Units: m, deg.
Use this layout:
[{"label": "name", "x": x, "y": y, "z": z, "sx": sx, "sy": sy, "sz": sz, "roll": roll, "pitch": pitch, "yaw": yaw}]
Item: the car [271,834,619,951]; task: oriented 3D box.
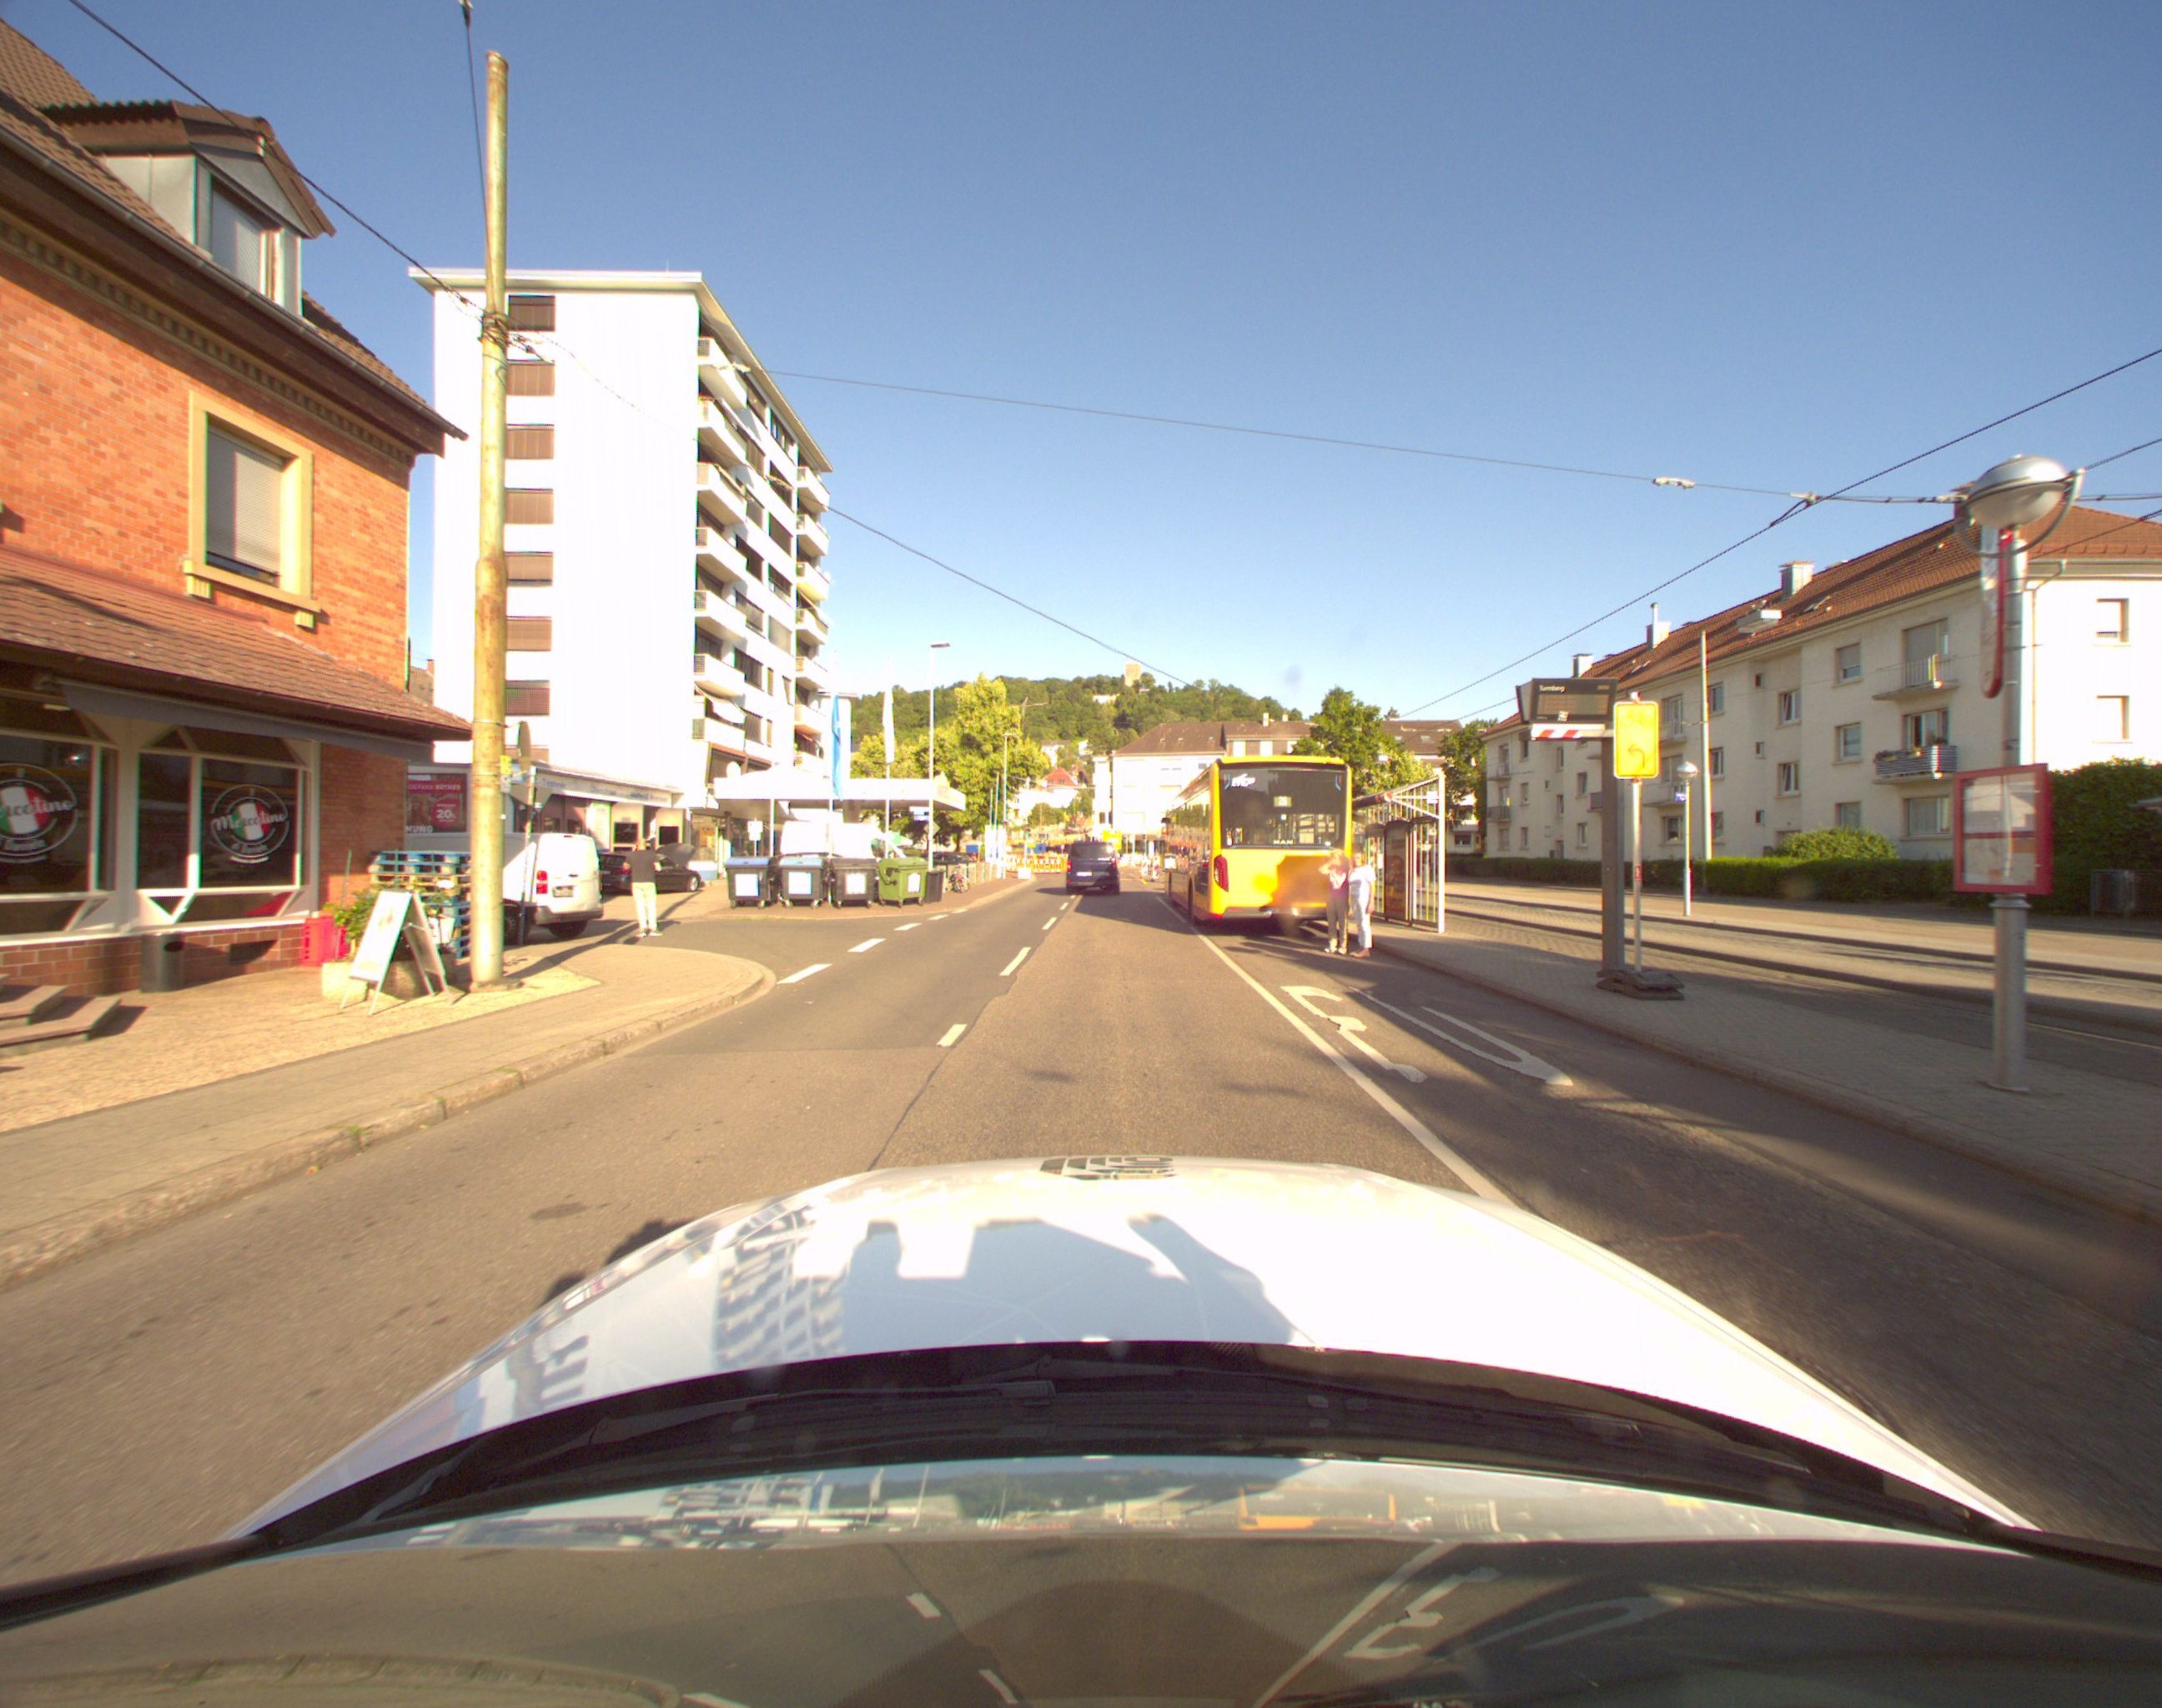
[{"label": "car", "x": -11.161, "y": 0.640, "z": 14.575, "sx": 4.600, "sy": 1.933, "sz": 1.999, "roll": 0, "pitch": 0, "yaw": -1}]

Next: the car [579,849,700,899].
[{"label": "car", "x": -15.126, "y": 0.634, "z": 28.184, "sx": 1.761, "sy": 1.568, "sz": 4.316, "roll": 1, "pitch": 0, "yaw": 1}]

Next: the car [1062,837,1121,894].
[{"label": "car", "x": 0.469, "y": 0.434, "z": 31.610, "sx": 2.054, "sy": 2.014, "sz": 5.002, "roll": -1, "pitch": -1, "yaw": 2}]

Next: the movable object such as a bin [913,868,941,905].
[{"label": "movable object such as a bin", "x": -4.784, "y": 1.004, "z": 25.330, "sx": 0.655, "sy": 1.062, "sz": 0.587, "roll": 2, "pitch": 2, "yaw": 14}]

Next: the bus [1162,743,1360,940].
[{"label": "bus", "x": 3.737, "y": -0.235, "z": 20.177, "sx": 2.678, "sy": 3.416, "sz": 12.024, "roll": 0, "pitch": 0, "yaw": 2}]

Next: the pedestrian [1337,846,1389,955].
[{"label": "pedestrian", "x": 4.315, "y": 0.688, "z": 12.463, "sx": 0.548, "sy": 1.613, "sz": 0.544, "roll": 0, "pitch": -1, "yaw": -36}]

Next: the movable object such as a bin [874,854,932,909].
[{"label": "movable object such as a bin", "x": -5.303, "y": 0.793, "z": 24.310, "sx": 1.045, "sy": 1.482, "sz": 1.321, "roll": 2, "pitch": 3, "yaw": 30}]

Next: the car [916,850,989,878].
[{"label": "car", "x": -7.225, "y": 0.530, "z": 45.447, "sx": 1.921, "sy": 1.454, "sz": 4.261, "roll": 1, "pitch": 0, "yaw": -43}]

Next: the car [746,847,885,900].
[{"label": "car", "x": -8.292, "y": 0.620, "z": 25.809, "sx": 3.990, "sy": 1.568, "sz": 1.765, "roll": 1, "pitch": 0, "yaw": -13}]

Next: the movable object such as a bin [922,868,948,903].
[{"label": "movable object such as a bin", "x": -4.645, "y": 0.991, "z": 25.932, "sx": 0.635, "sy": 1.069, "sz": 0.582, "roll": 1, "pitch": 3, "yaw": 14}]

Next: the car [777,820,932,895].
[{"label": "car", "x": -7.981, "y": 0.151, "z": 28.775, "sx": 5.072, "sy": 2.469, "sz": 2.094, "roll": 1, "pitch": 0, "yaw": -20}]

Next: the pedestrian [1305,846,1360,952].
[{"label": "pedestrian", "x": 3.961, "y": 0.687, "z": 12.818, "sx": 0.548, "sy": 1.613, "sz": 0.629, "roll": 0, "pitch": -1, "yaw": -36}]

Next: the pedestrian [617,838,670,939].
[{"label": "pedestrian", "x": -8.372, "y": 0.632, "z": 15.614, "sx": 0.821, "sy": 1.868, "sz": 0.789, "roll": 0, "pitch": 0, "yaw": -23}]

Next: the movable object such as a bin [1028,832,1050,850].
[{"label": "movable object such as a bin", "x": -6.262, "y": -1.893, "z": 122.112, "sx": 2.175, "sy": 2.690, "sz": 4.014, "roll": 0, "pitch": 0, "yaw": 13}]

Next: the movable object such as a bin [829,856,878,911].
[{"label": "movable object such as a bin", "x": -6.517, "y": 0.823, "z": 23.344, "sx": 1.225, "sy": 1.482, "sz": 0.698, "roll": -1, "pitch": 3, "yaw": -27}]

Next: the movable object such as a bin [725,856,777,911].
[{"label": "movable object such as a bin", "x": -9.316, "y": 0.815, "z": 23.032, "sx": 1.175, "sy": 1.482, "sz": 0.703, "roll": 0, "pitch": 3, "yaw": -3}]

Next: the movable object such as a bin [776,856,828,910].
[{"label": "movable object such as a bin", "x": -7.917, "y": 0.811, "z": 23.151, "sx": 1.215, "sy": 1.482, "sz": 0.703, "roll": 0, "pitch": 3, "yaw": -3}]

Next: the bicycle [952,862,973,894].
[{"label": "bicycle", "x": -4.521, "y": 0.903, "z": 31.127, "sx": 0.722, "sy": 1.178, "sz": 1.776, "roll": 0, "pitch": 0, "yaw": -7}]

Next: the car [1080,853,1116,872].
[{"label": "car", "x": 1.301, "y": 0.640, "z": 64.323, "sx": 1.797, "sy": 1.409, "sz": 3.980, "roll": 0, "pitch": 0, "yaw": -14}]

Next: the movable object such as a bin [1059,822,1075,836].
[{"label": "movable object such as a bin", "x": -2.711, "y": -4.755, "z": 156.594, "sx": 2.175, "sy": 2.690, "sz": 4.014, "roll": 0, "pitch": 0, "yaw": 13}]
